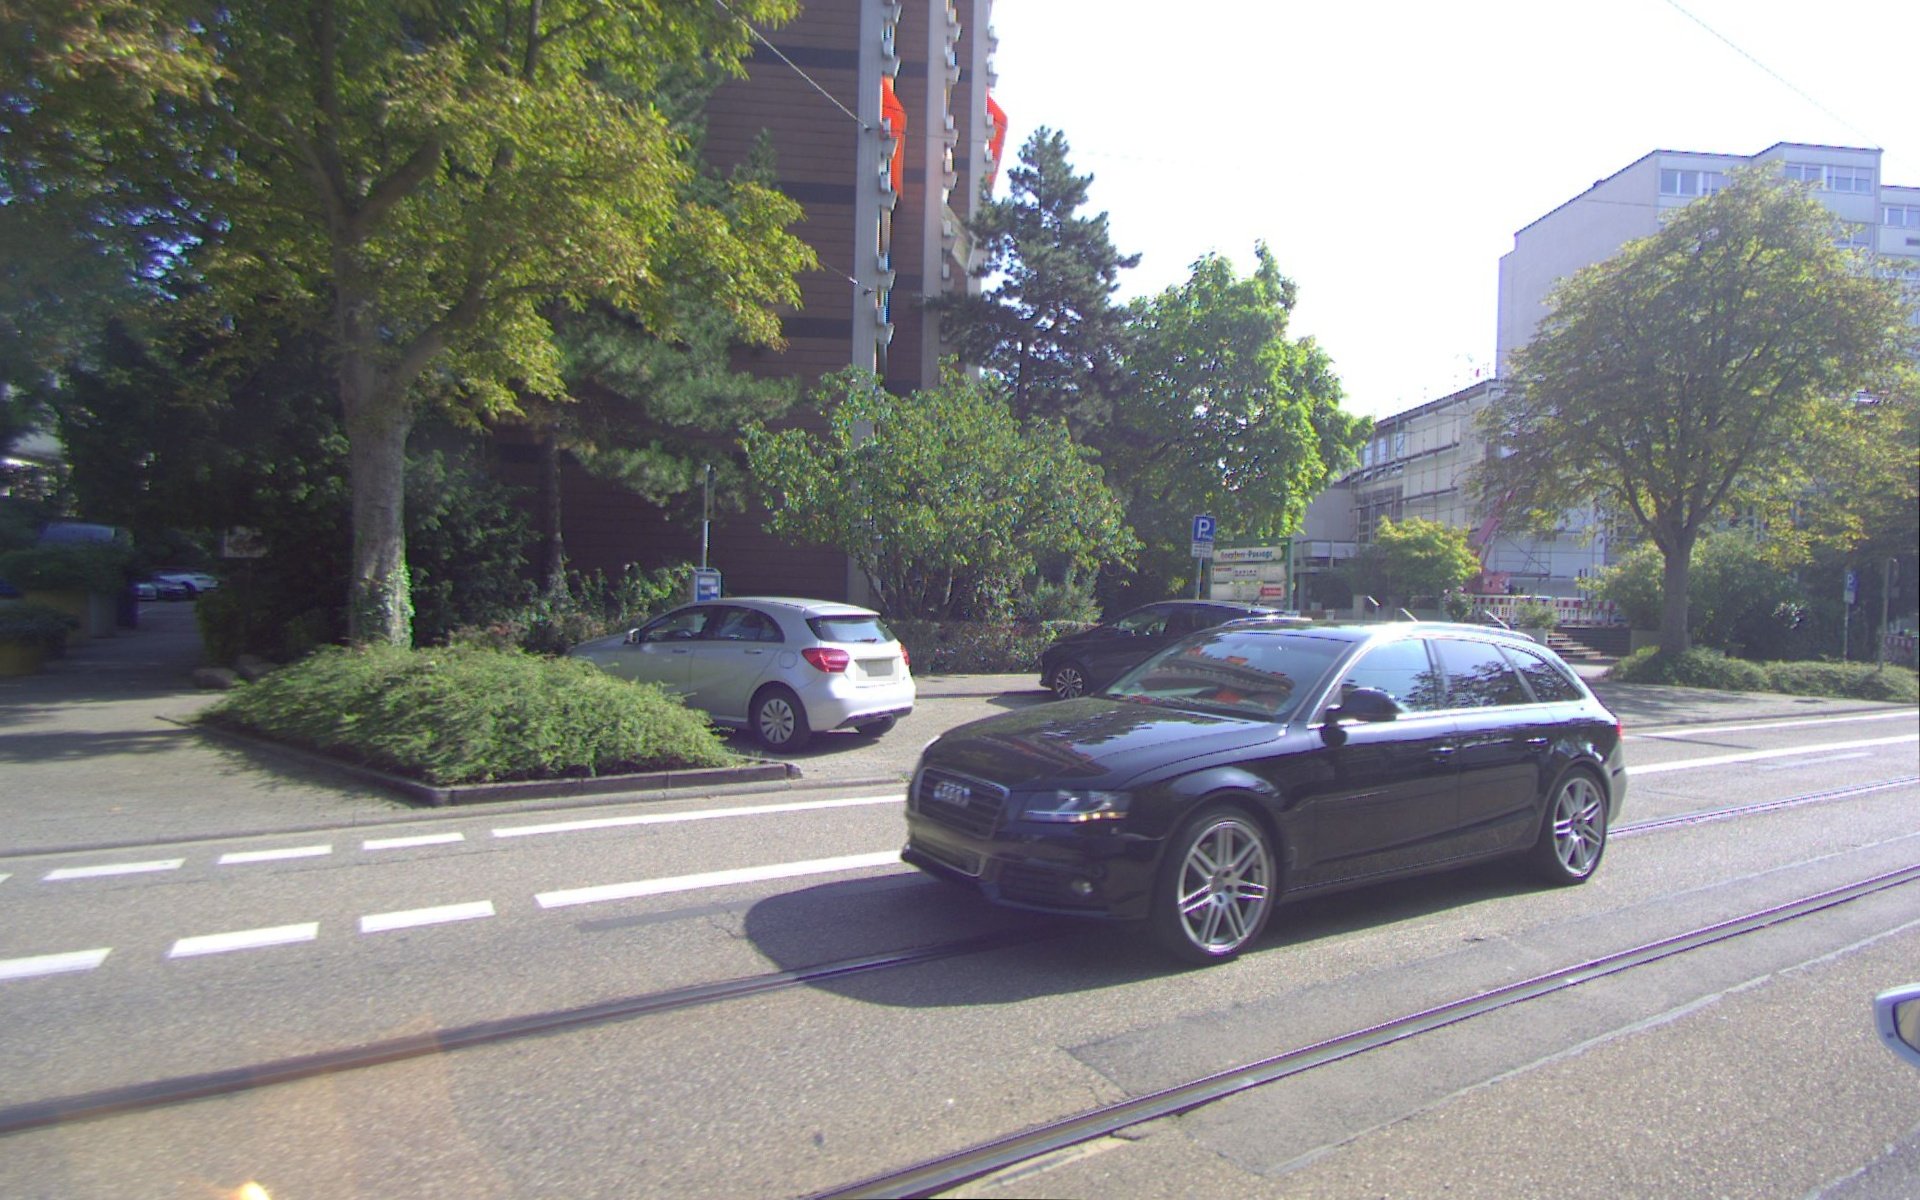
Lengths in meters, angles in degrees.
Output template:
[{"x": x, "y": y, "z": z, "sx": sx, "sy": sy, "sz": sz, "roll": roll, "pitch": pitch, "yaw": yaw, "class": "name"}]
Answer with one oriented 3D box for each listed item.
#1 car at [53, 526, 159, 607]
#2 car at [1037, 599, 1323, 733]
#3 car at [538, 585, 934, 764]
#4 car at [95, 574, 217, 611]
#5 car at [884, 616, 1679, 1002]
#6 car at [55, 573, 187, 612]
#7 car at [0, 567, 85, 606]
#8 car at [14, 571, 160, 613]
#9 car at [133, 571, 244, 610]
[{"x": -30.291, "y": -1.124, "z": 35.791, "sx": 1.998, "sy": 2.631, "sz": 5.166, "roll": 1, "pitch": 0, "yaw": -31, "class": "car"}, {"x": 3.073, "y": 0.829, "z": 14.250, "sx": 3.585, "sy": 1.535, "sz": 1.616, "roll": 3, "pitch": 1, "yaw": 35, "class": "car"}, {"x": -2.430, "y": 0.655, "z": 10.699, "sx": 3.929, "sy": 1.499, "sz": 1.785, "roll": 2, "pitch": 1, "yaw": 30, "class": "car"}, {"x": -36.331, "y": -0.311, "z": 45.469, "sx": 4.061, "sy": 1.547, "sz": 1.437, "roll": 1, "pitch": -1, "yaw": -13, "class": "car"}, {"x": 1.973, "y": 0.834, "z": 5.657, "sx": 4.462, "sy": 1.394, "sz": 1.819, "roll": 2, "pitch": -1, "yaw": -32, "class": "car"}, {"x": -35.704, "y": -0.309, "z": 42.840, "sx": 4.061, "sy": 1.547, "sz": 1.437, "roll": 1, "pitch": -1, "yaw": -13, "class": "car"}, {"x": -36.310, "y": -0.539, "z": 38.753, "sx": 3.576, "sy": 1.396, "sz": 1.488, "roll": 2, "pitch": 0, "yaw": -30, "class": "car"}, {"x": -35.169, "y": -0.301, "z": 40.586, "sx": 4.061, "sy": 1.547, "sz": 1.728, "roll": 1, "pitch": -1, "yaw": -13, "class": "car"}, {"x": -36.977, "y": -0.439, "z": 48.213, "sx": 4.055, "sy": 1.756, "sz": 1.440, "roll": 1, "pitch": -1, "yaw": -6, "class": "car"}]
